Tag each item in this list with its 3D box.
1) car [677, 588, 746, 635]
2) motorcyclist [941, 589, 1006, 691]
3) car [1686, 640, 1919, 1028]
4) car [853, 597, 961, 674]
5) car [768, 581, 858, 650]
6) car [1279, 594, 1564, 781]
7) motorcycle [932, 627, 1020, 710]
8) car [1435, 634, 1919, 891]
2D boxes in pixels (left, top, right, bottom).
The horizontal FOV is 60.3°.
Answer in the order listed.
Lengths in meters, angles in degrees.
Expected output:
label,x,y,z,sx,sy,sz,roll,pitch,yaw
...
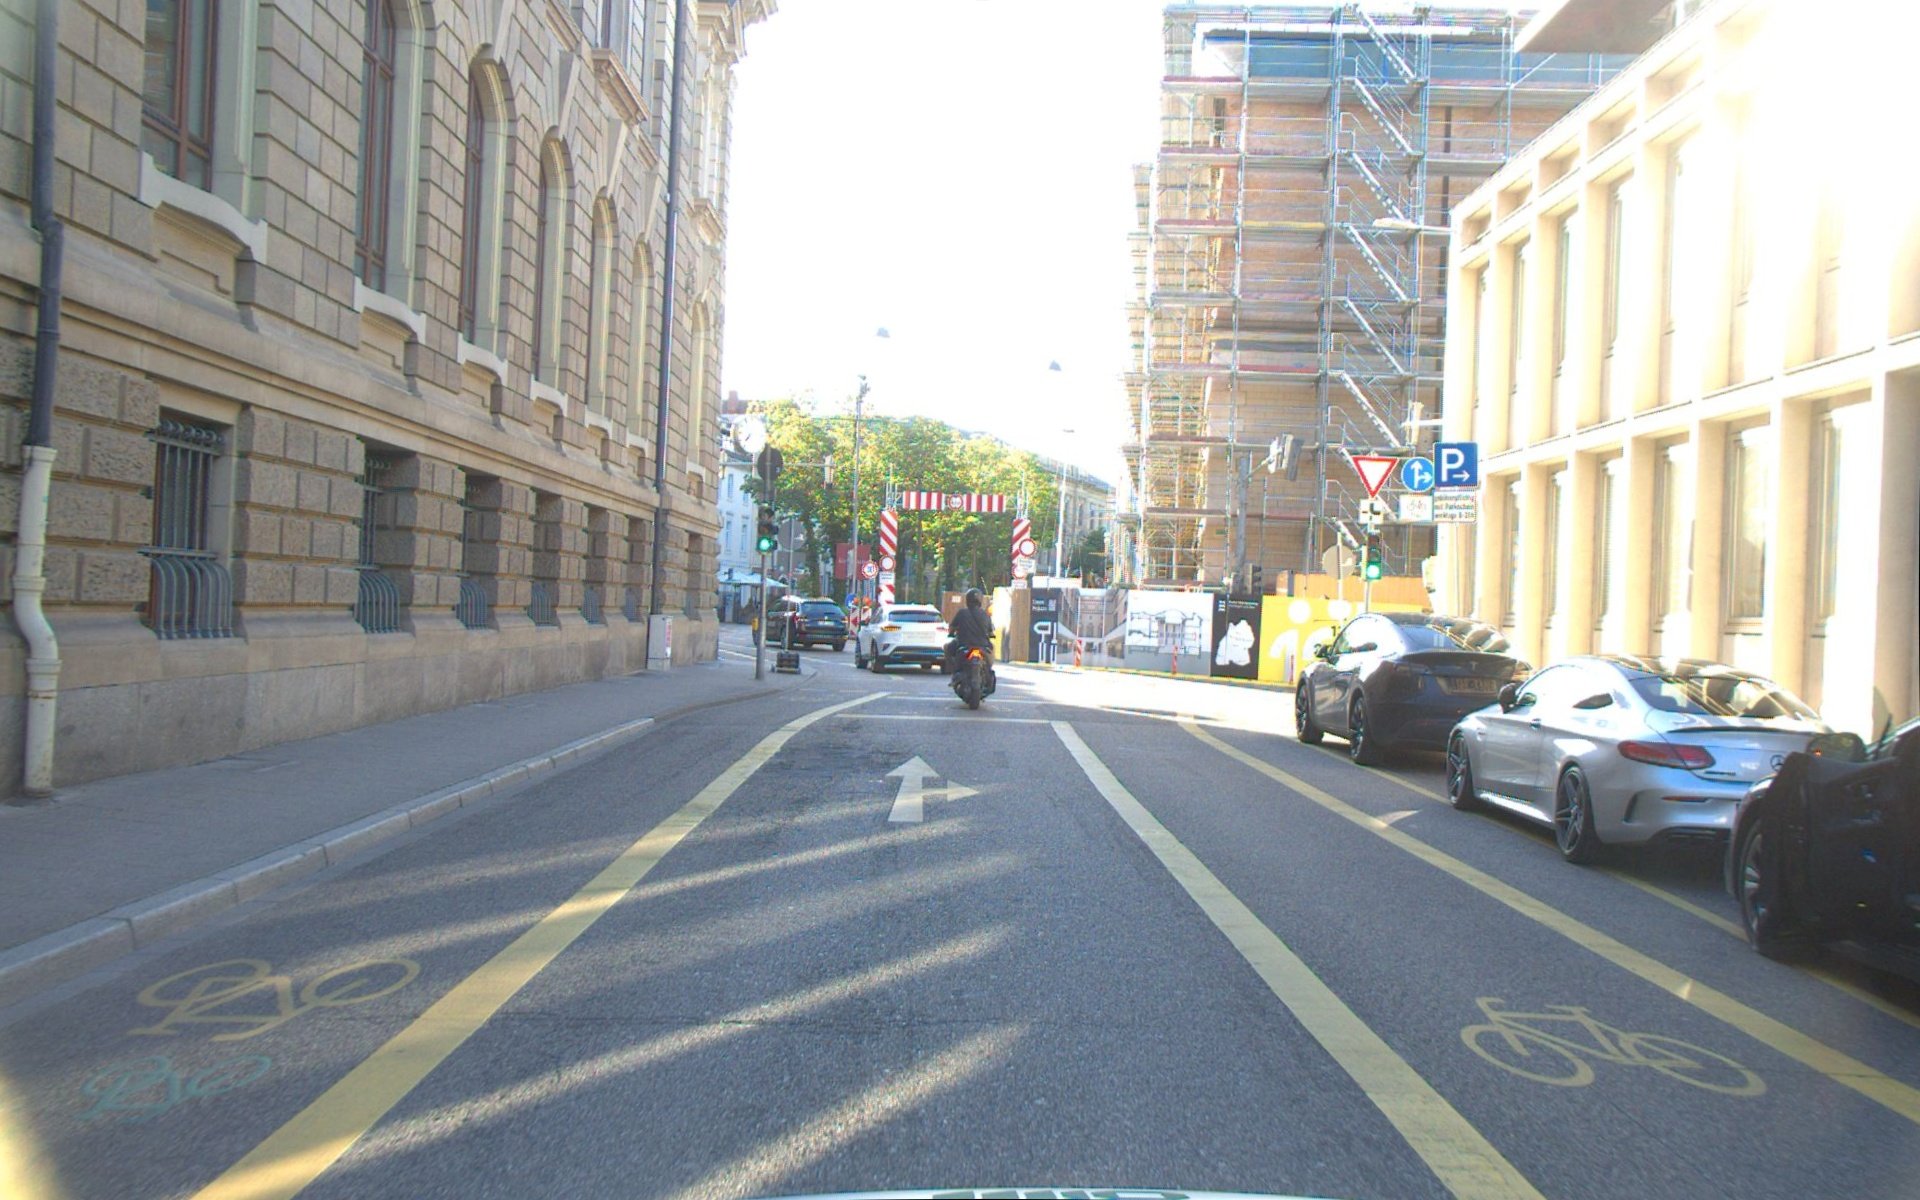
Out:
label,x,y,z,sx,sy,sz,roll,pitch,yaw
car,-9.867,0.432,65.455,1.964,1.693,4.334,-1,2,-19
motorcyclist,0.195,0.588,24.199,0.852,1.452,0.454,2,-1,-13
car,4.767,0.992,6.275,1.788,1.527,4.735,4,-1,-1
car,-1.266,0.755,37.574,1.790,1.568,4.253,3,0,-11
car,-4.291,0.454,47.860,1.801,1.870,3.981,2,-1,-17
car,5.096,0.877,18.970,1.788,1.728,4.666,3,1,-1
motorcycle,0.214,0.975,24.020,0.857,1.129,1.833,2,-1,-13
car,4.992,1.014,12.119,1.787,1.423,4.480,3,-1,2
